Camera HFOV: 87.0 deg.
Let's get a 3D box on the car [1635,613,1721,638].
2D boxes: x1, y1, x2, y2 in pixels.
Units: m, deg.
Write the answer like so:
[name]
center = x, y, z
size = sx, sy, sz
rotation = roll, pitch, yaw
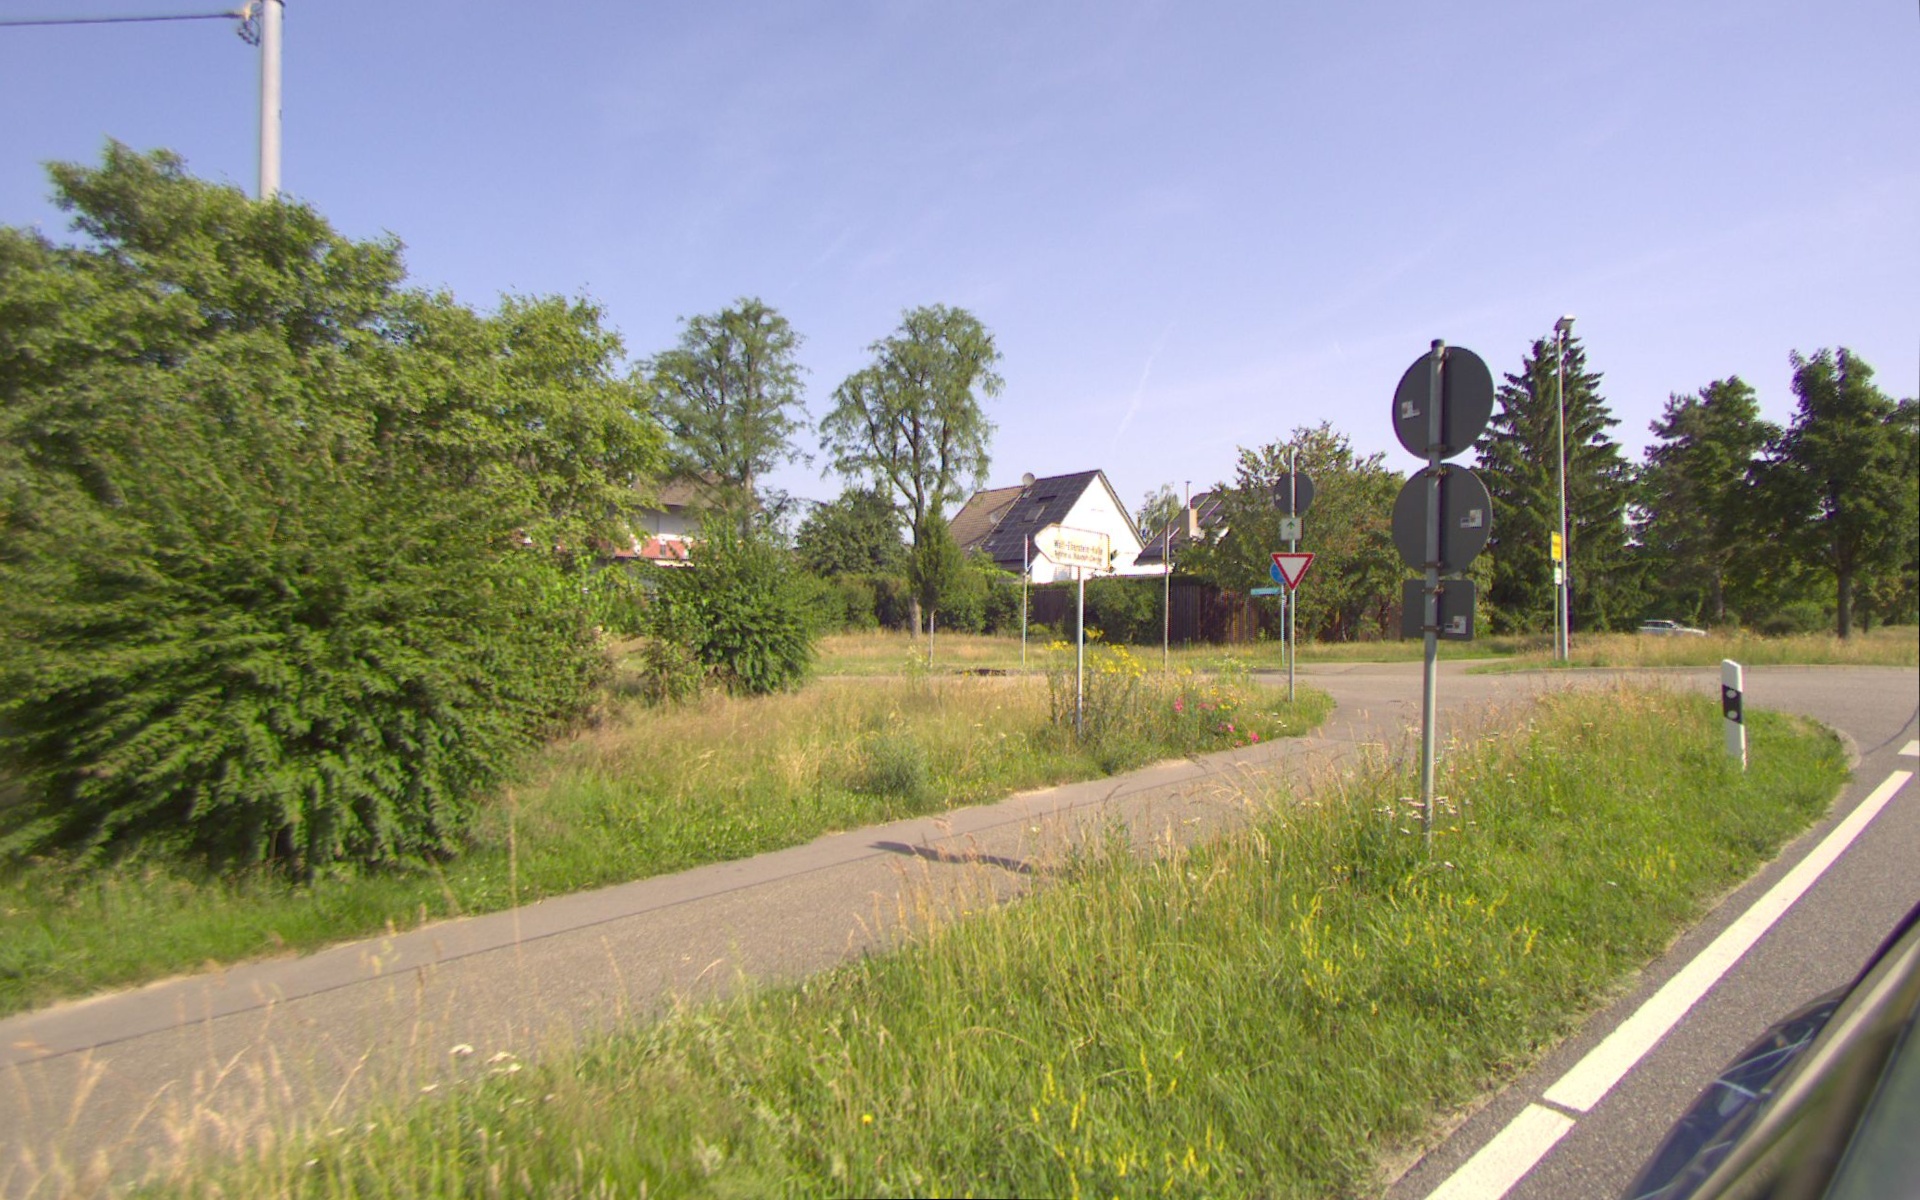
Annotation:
[car]
center = 43.846, 1.525, 61.823
size = 1.784, 1.452, 3.992
rotation = 1, -1, -42
